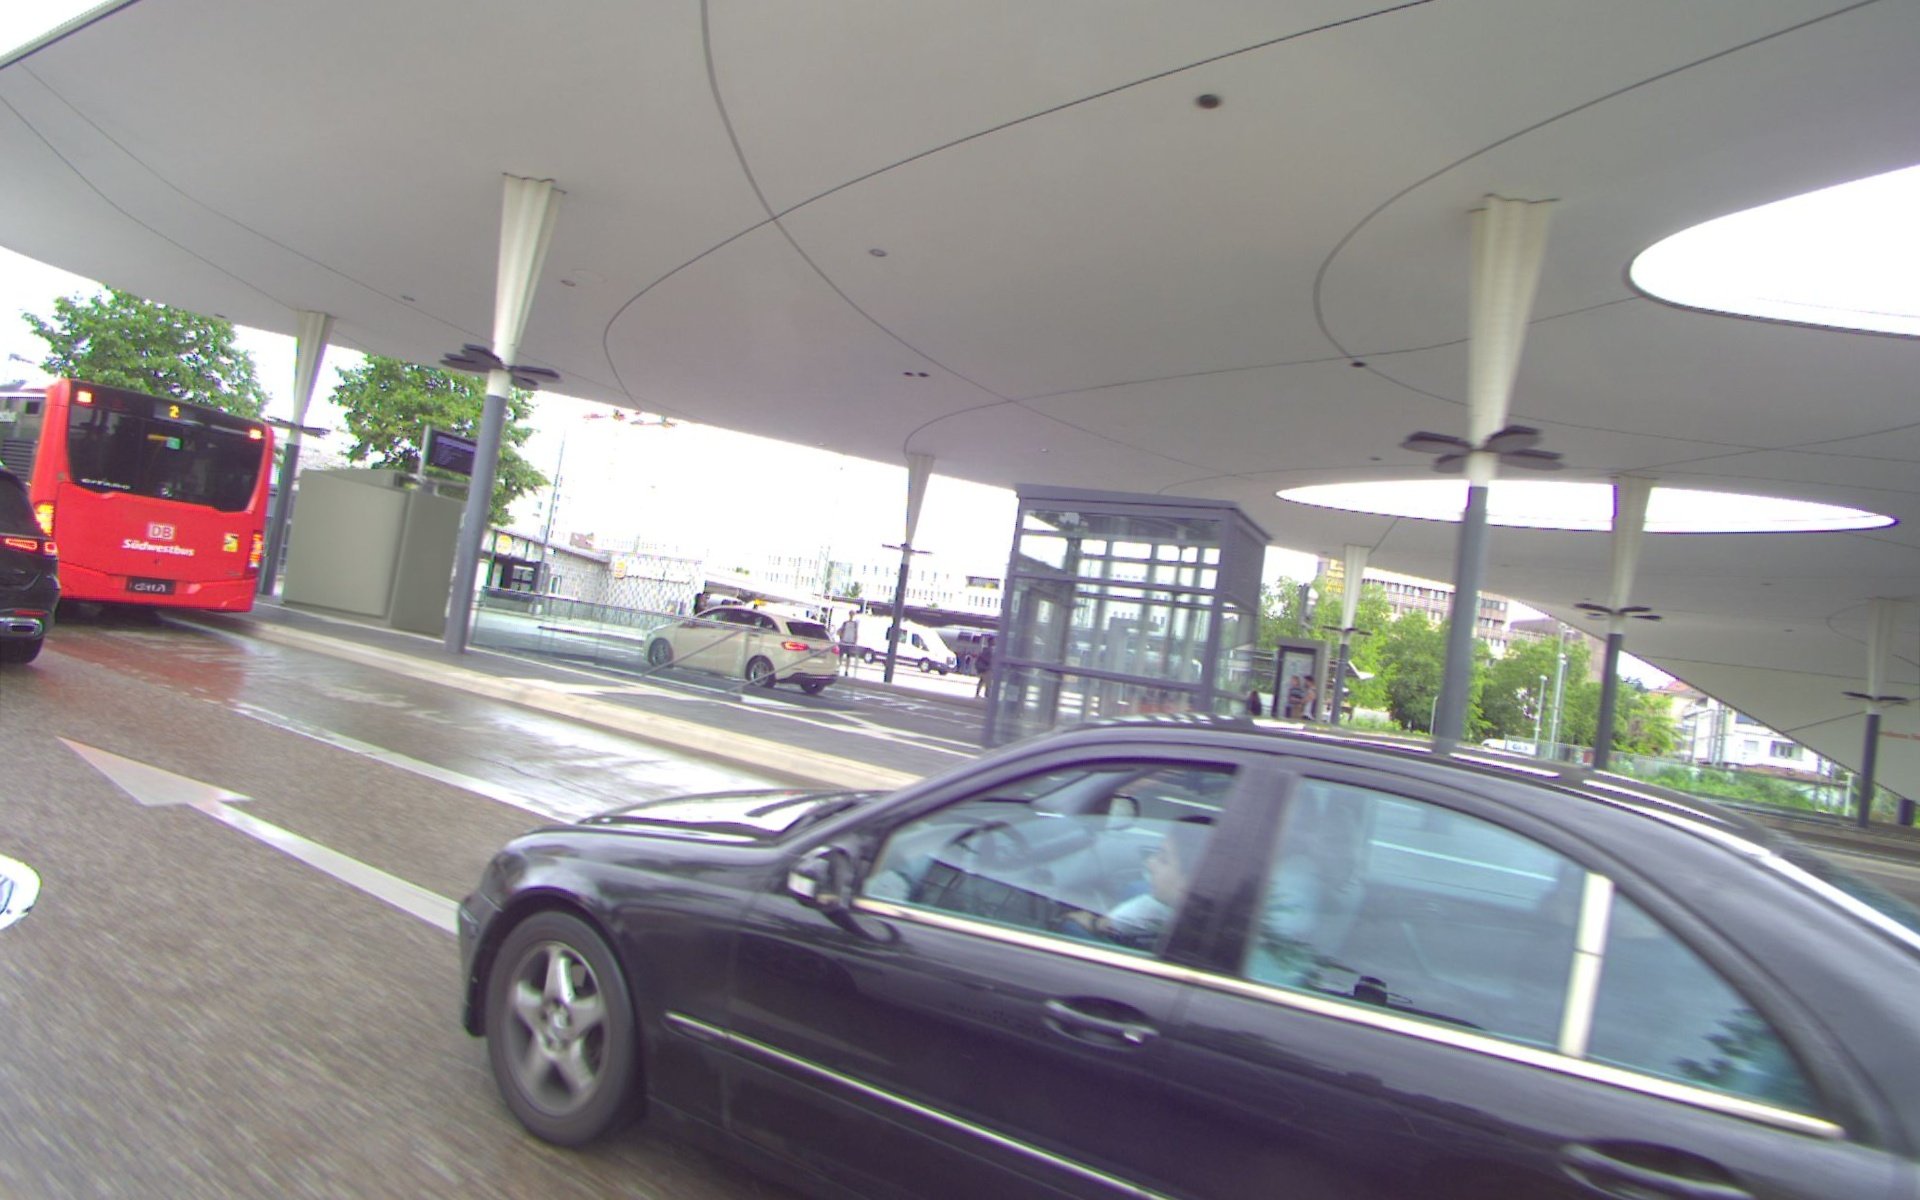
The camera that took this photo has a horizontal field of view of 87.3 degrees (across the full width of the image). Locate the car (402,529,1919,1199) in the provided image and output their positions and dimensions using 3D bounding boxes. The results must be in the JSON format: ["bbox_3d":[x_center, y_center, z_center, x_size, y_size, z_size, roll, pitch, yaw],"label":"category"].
[{"bbox_3d":[0.740,0.882,2.545,4.230,1.479,1.701,8,-1,30],"label":"car"}]

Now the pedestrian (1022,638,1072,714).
[{"bbox_3d":[2.146,1.873,24.801,0.757,1.730,0.707,10,4,43],"label":"pedestrian"}]

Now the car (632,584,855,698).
[{"bbox_3d":[-4.418,0.810,20.377,4.168,1.680,1.717,7,-4,30],"label":"car"}]

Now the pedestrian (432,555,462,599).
[{"bbox_3d":[-19.808,-0.885,38.851,0.663,1.592,0.606,2,-8,37],"label":"pedestrian"}]

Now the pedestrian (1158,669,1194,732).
[{"bbox_3d":[5.323,2.490,24.789,0.603,1.460,0.562,6,-2,28],"label":"pedestrian"}]

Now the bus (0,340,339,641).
[{"bbox_3d":[-14.604,-1.736,16.053,10.698,3.329,3.293,6,-2,32],"label":"bus"}]

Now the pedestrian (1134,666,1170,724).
[{"bbox_3d":[4.805,2.374,25.133,0.603,1.376,0.562,6,-2,28],"label":"pedestrian"}]

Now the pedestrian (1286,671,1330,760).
[{"bbox_3d":[7.099,2.350,20.496,0.602,1.710,0.562,7,-2,24],"label":"pedestrian"}]

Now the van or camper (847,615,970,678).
[{"bbox_3d":[-2.805,2.467,53.854,6.108,2.536,2.099,6,-3,27],"label":"van or camper"}]

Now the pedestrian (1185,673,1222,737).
[{"bbox_3d":[5.931,2.547,24.482,0.603,1.460,0.562,6,-2,28],"label":"pedestrian"}]

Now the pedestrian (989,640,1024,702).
[{"bbox_3d":[1.289,1.986,28.018,0.759,1.592,0.583,7,-7,-1],"label":"pedestrian"}]

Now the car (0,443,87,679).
[{"bbox_3d":[-10.060,-0.590,8.956,4.792,1.898,1.960,7,-1,31],"label":"car"}]

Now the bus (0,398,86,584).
[{"bbox_3d":[-21.896,-2.556,20.654,8.703,3.327,3.298,6,-2,32],"label":"bus"}]

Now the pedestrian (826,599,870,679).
[{"bbox_3d":[-3.052,1.069,27.333,0.719,2.032,0.665,11,-8,-33],"label":"pedestrian"}]

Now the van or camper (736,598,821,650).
[{"bbox_3d":[-10.169,1.385,56.679,2.073,2.294,4.702,6,-3,27],"label":"van or camper"}]

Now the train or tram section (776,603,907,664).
[{"bbox_3d":[-10.537,2.896,88.801,11.420,3.693,3.146,7,-6,31],"label":"train or tram section"}]

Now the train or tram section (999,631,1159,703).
[{"bbox_3d":[9.014,5.079,77.138,11.420,3.712,3.146,6,-6,31],"label":"train or tram section"}]

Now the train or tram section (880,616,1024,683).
[{"bbox_3d":[-0.765,4.013,82.951,11.420,3.715,3.146,7,-6,31],"label":"train or tram section"}]

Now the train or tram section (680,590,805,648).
[{"bbox_3d":[-20.576,1.777,94.793,12.116,3.693,3.146,7,-6,31],"label":"train or tram section"}]

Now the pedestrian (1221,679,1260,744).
[{"bbox_3d":[6.656,2.644,23.846,0.625,1.460,0.562,6,-2,28],"label":"pedestrian"}]

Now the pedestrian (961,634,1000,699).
[{"bbox_3d":[0.526,1.743,26.186,0.699,1.599,0.600,5,-2,22],"label":"pedestrian"}]

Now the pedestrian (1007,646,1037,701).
[{"bbox_3d":[1.677,1.996,27.271,0.469,1.403,0.559,9,-7,-24],"label":"pedestrian"}]

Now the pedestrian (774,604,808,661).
[{"bbox_3d":[-5.149,0.997,30.647,0.759,1.592,0.583,7,-7,-1],"label":"pedestrian"}]

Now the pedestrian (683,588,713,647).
[{"bbox_3d":[-7.676,0.519,29.477,0.573,1.592,0.772,9,-7,-18],"label":"pedestrian"}]
